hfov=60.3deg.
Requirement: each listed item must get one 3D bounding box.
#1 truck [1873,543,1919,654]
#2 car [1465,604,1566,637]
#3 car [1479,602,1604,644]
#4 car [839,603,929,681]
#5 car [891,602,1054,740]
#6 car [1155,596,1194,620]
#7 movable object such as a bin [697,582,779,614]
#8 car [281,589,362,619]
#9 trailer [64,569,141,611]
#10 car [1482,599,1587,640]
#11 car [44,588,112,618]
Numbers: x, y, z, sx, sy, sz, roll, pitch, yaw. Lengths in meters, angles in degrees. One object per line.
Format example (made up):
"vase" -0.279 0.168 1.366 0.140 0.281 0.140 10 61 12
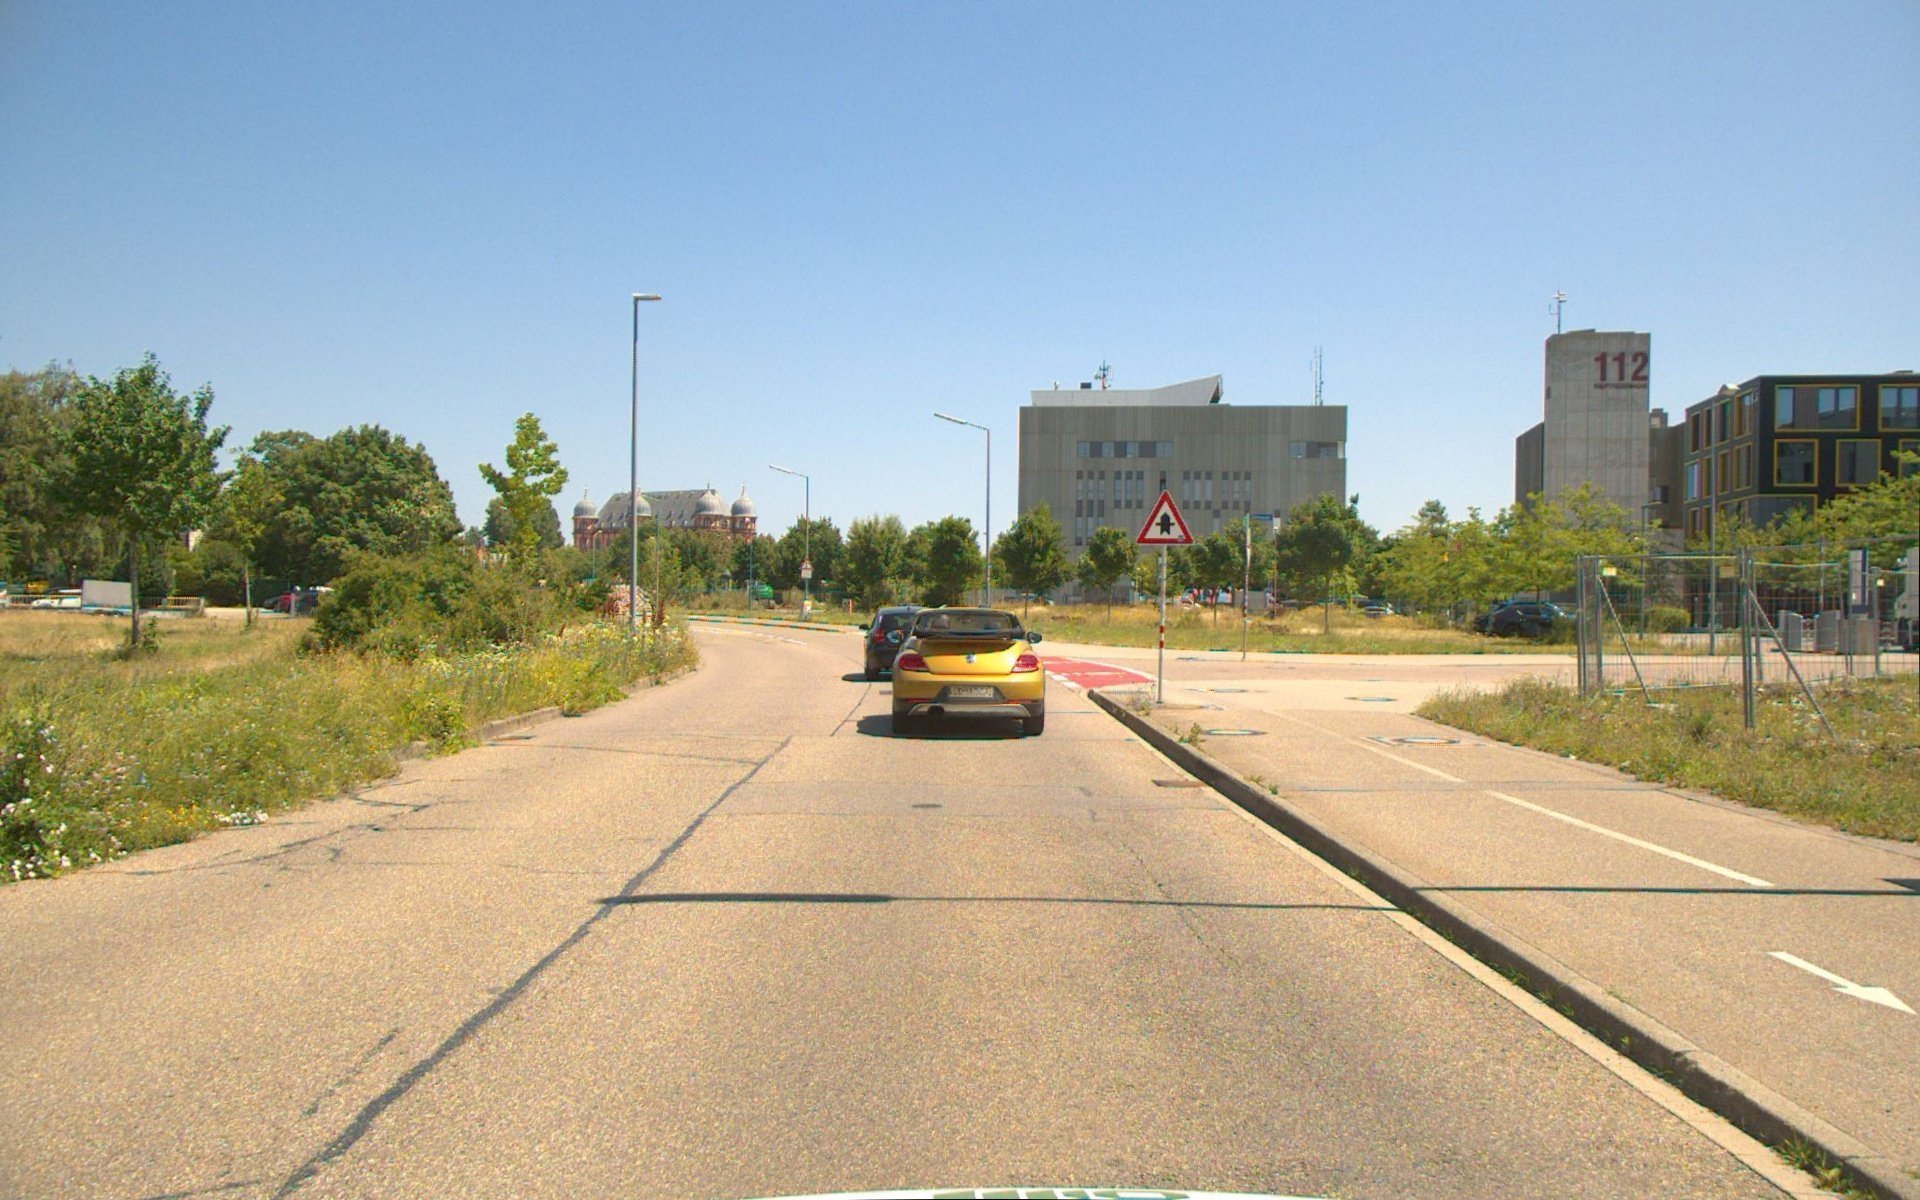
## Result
"truck" 31.799 -0.083 50.767 2.944 3.522 12.149 -1 -1 11
"car" 25.528 0.931 76.049 4.026 1.470 1.963 1 0 4
"car" 23.377 0.927 66.632 4.397 1.589 2.033 1 0 8
"car" -1.582 0.807 33.467 1.693 1.468 3.996 1 0 -4
"car" 0.147 0.775 19.875 1.753 1.462 3.814 1 0 0
"car" 21.402 0.828 165.236 3.760 2.334 1.744 1 0 10
"movable object such as a bin" -24.163 -0.184 179.530 4.895 3.317 10.346 1 0 -34
"car" -41.129 0.277 106.509 4.760 1.872 1.985 1 0 -24
"trailer" -43.744 -0.496 84.388 3.379 2.081 1.742 1 -1 -31
"car" 24.668 0.826 71.131 3.971 1.681 1.956 1 0 9
"car" -49.319 0.173 92.512 3.298 1.604 1.755 1 0 -30
